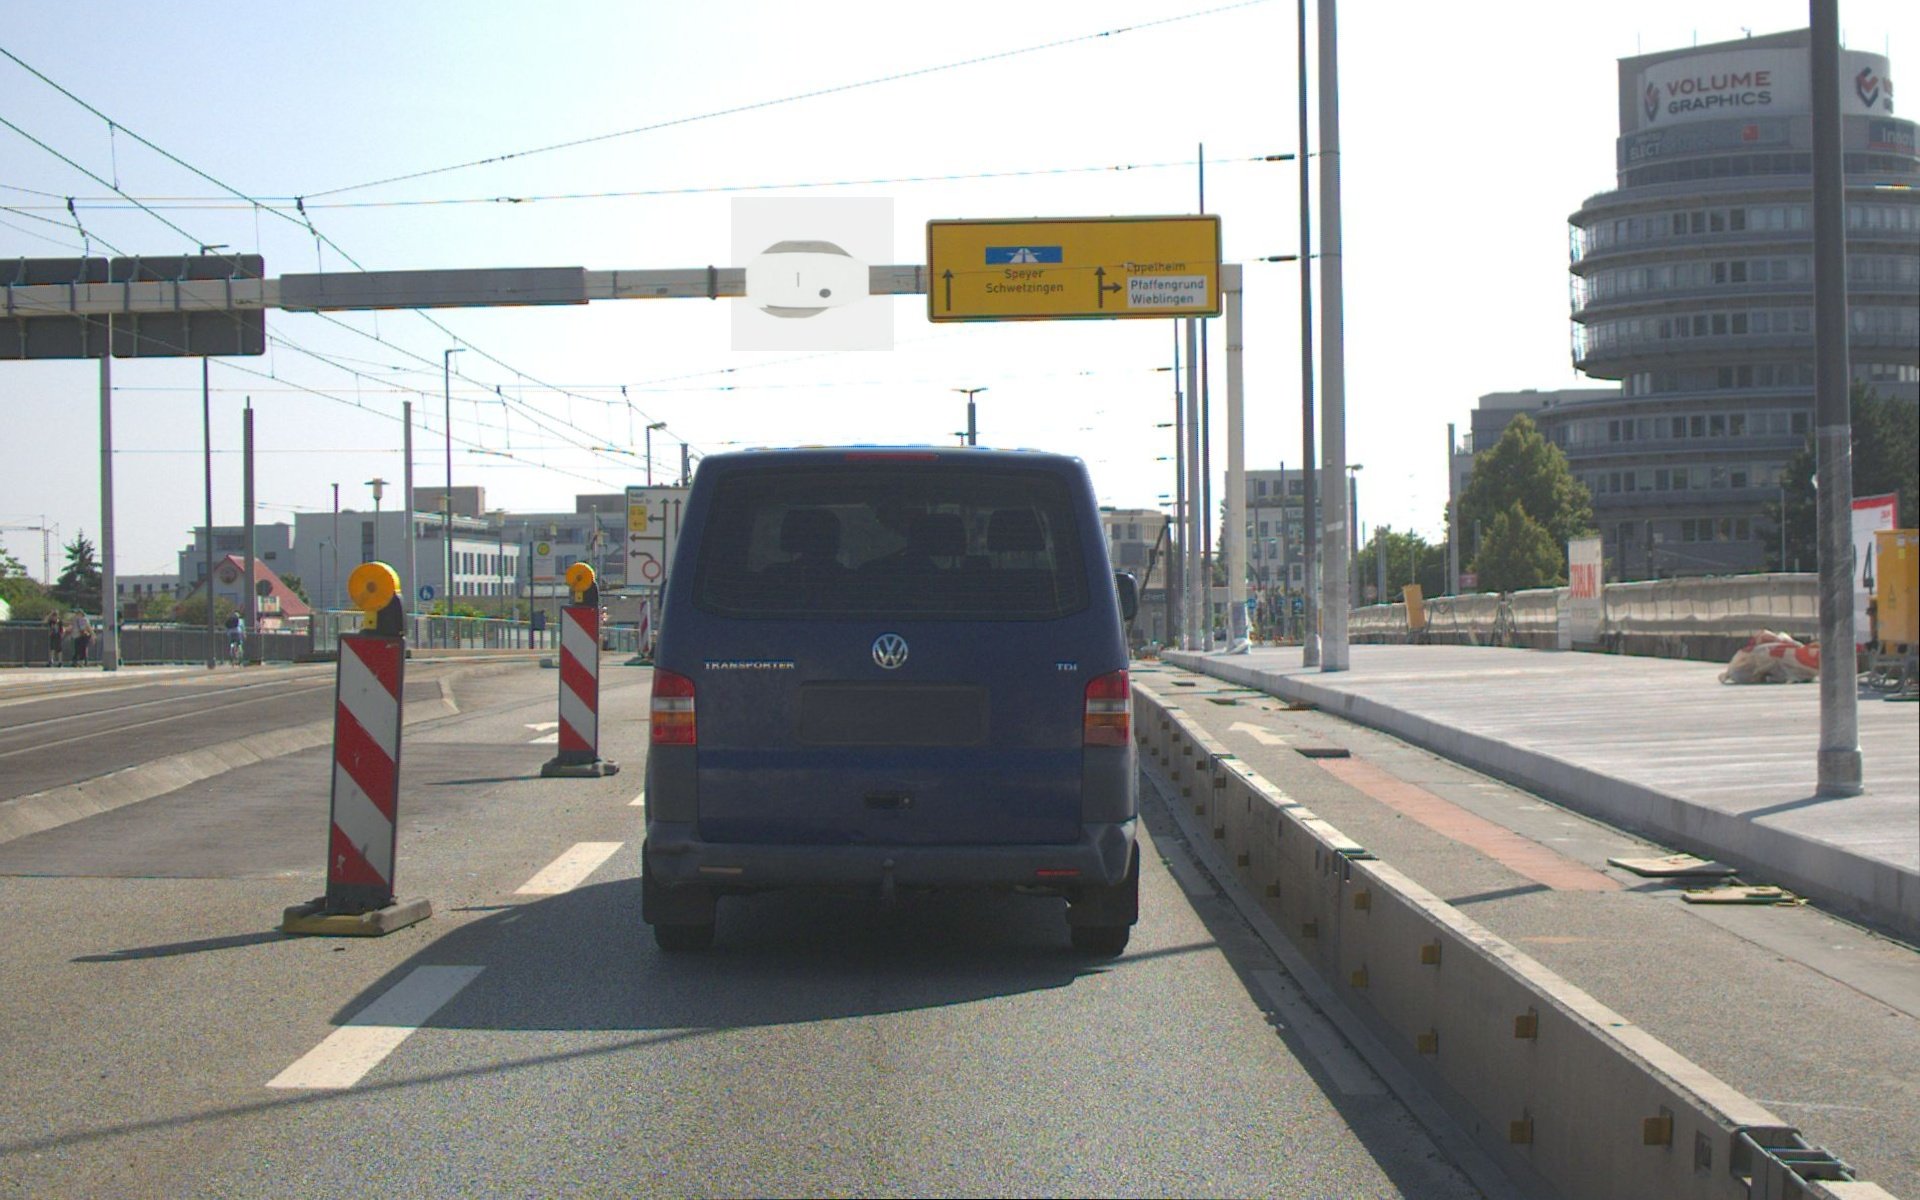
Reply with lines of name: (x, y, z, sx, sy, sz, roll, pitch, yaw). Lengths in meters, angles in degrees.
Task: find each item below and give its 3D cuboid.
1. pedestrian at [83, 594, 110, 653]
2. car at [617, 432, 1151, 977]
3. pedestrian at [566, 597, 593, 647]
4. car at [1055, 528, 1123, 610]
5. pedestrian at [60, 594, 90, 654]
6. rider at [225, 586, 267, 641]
pedestrian: (-24.780, 0.672, 98.659, 0.486, 1.681, 0.808, -1, 0, 3)
car: (-0.286, 0.373, 14.334, 1.888, 1.927, 4.000, 1, 0, 0)
pedestrian: (-12.663, 0.716, 114.337, 0.660, 1.649, 0.739, -1, -1, 14)
car: (4.692, -1.110, 125.500, 2.339, 2.877, 5.970, 1, 0, 1)
pedestrian: (-25.346, 0.684, 98.444, 0.597, 1.681, 0.817, -1, 0, 3)
rider: (-22.573, 0.421, 108.755, 0.763, 1.727, 2.951, 0, 0, -1)
